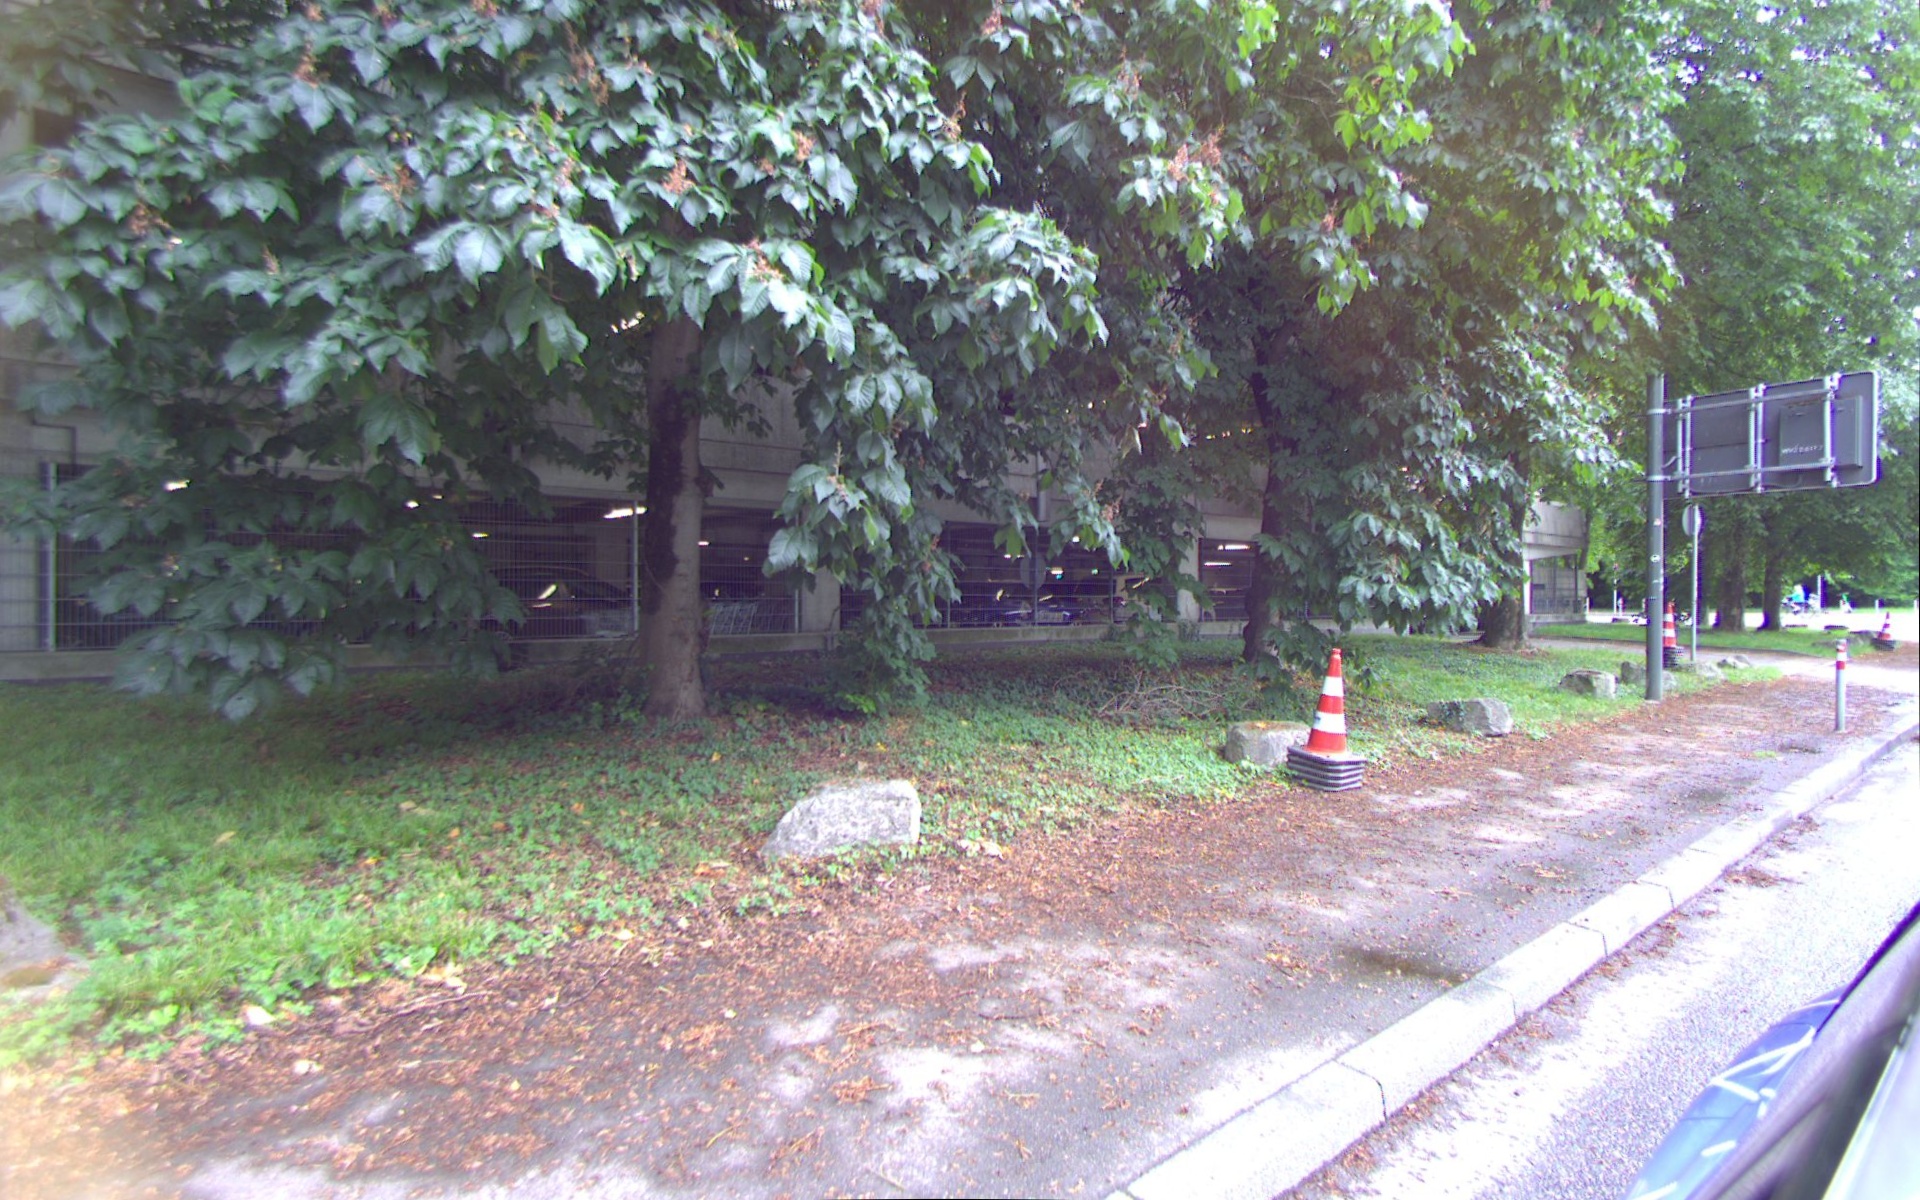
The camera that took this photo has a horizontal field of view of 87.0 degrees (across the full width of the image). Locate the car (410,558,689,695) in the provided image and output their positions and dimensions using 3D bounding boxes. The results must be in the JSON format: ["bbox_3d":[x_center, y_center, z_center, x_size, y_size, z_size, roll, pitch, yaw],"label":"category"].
[{"bbox_3d":[-6.867,0.346,17.087,3.929,2.039,1.997,-2,0,-40],"label":"car"}]

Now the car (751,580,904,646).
[{"bbox_3d":[-3.445,0.293,26.548,3.639,1.565,1.718,-2,1,-42],"label":"car"}]

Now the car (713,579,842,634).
[{"bbox_3d":[-5.711,0.178,31.864,3.638,1.565,1.719,-2,1,-41],"label":"car"}]

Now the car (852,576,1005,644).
[{"bbox_3d":[-0.757,0.227,25.804,3.639,1.565,1.718,-2,1,-42],"label":"car"}]

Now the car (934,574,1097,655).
[{"bbox_3d":[1.358,0.294,23.811,3.791,1.730,1.588,-2,0,-41],"label":"car"}]

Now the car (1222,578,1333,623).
[{"bbox_3d":[11.368,0.009,36.150,3.927,1.471,1.876,-2,1,-38],"label":"car"}]

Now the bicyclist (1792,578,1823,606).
[{"bbox_3d":[44.674,-0.419,53.336,0.731,1.448,1.156,-2,0,-44],"label":"bicyclist"}]

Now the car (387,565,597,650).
[{"bbox_3d":[-9.750,0.109,21.207,3.639,1.627,1.718,-2,1,-42],"label":"car"}]

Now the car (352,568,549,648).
[{"bbox_3d":[-11.439,0.139,22.851,3.639,1.627,1.718,-2,1,-42],"label":"car"}]

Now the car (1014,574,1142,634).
[{"bbox_3d":[3.454,0.084,29.419,3.629,1.606,1.718,-2,1,-42],"label":"car"}]

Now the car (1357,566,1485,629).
[{"bbox_3d":[14.549,-0.083,31.812,4.653,1.858,1.922,-1,0,-41],"label":"car"}]

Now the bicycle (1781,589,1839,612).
[{"bbox_3d":[44.723,0.027,53.280,0.736,1.137,2.252,-2,0,-44],"label":"bicycle"}]

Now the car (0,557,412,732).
[{"bbox_3d":[-10.327,0.473,13.901,4.594,2.039,1.996,-2,0,-41],"label":"car"}]

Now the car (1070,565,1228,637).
[{"bbox_3d":[5.081,-0.028,26.824,4.587,1.730,1.588,-2,0,-41],"label":"car"}]
